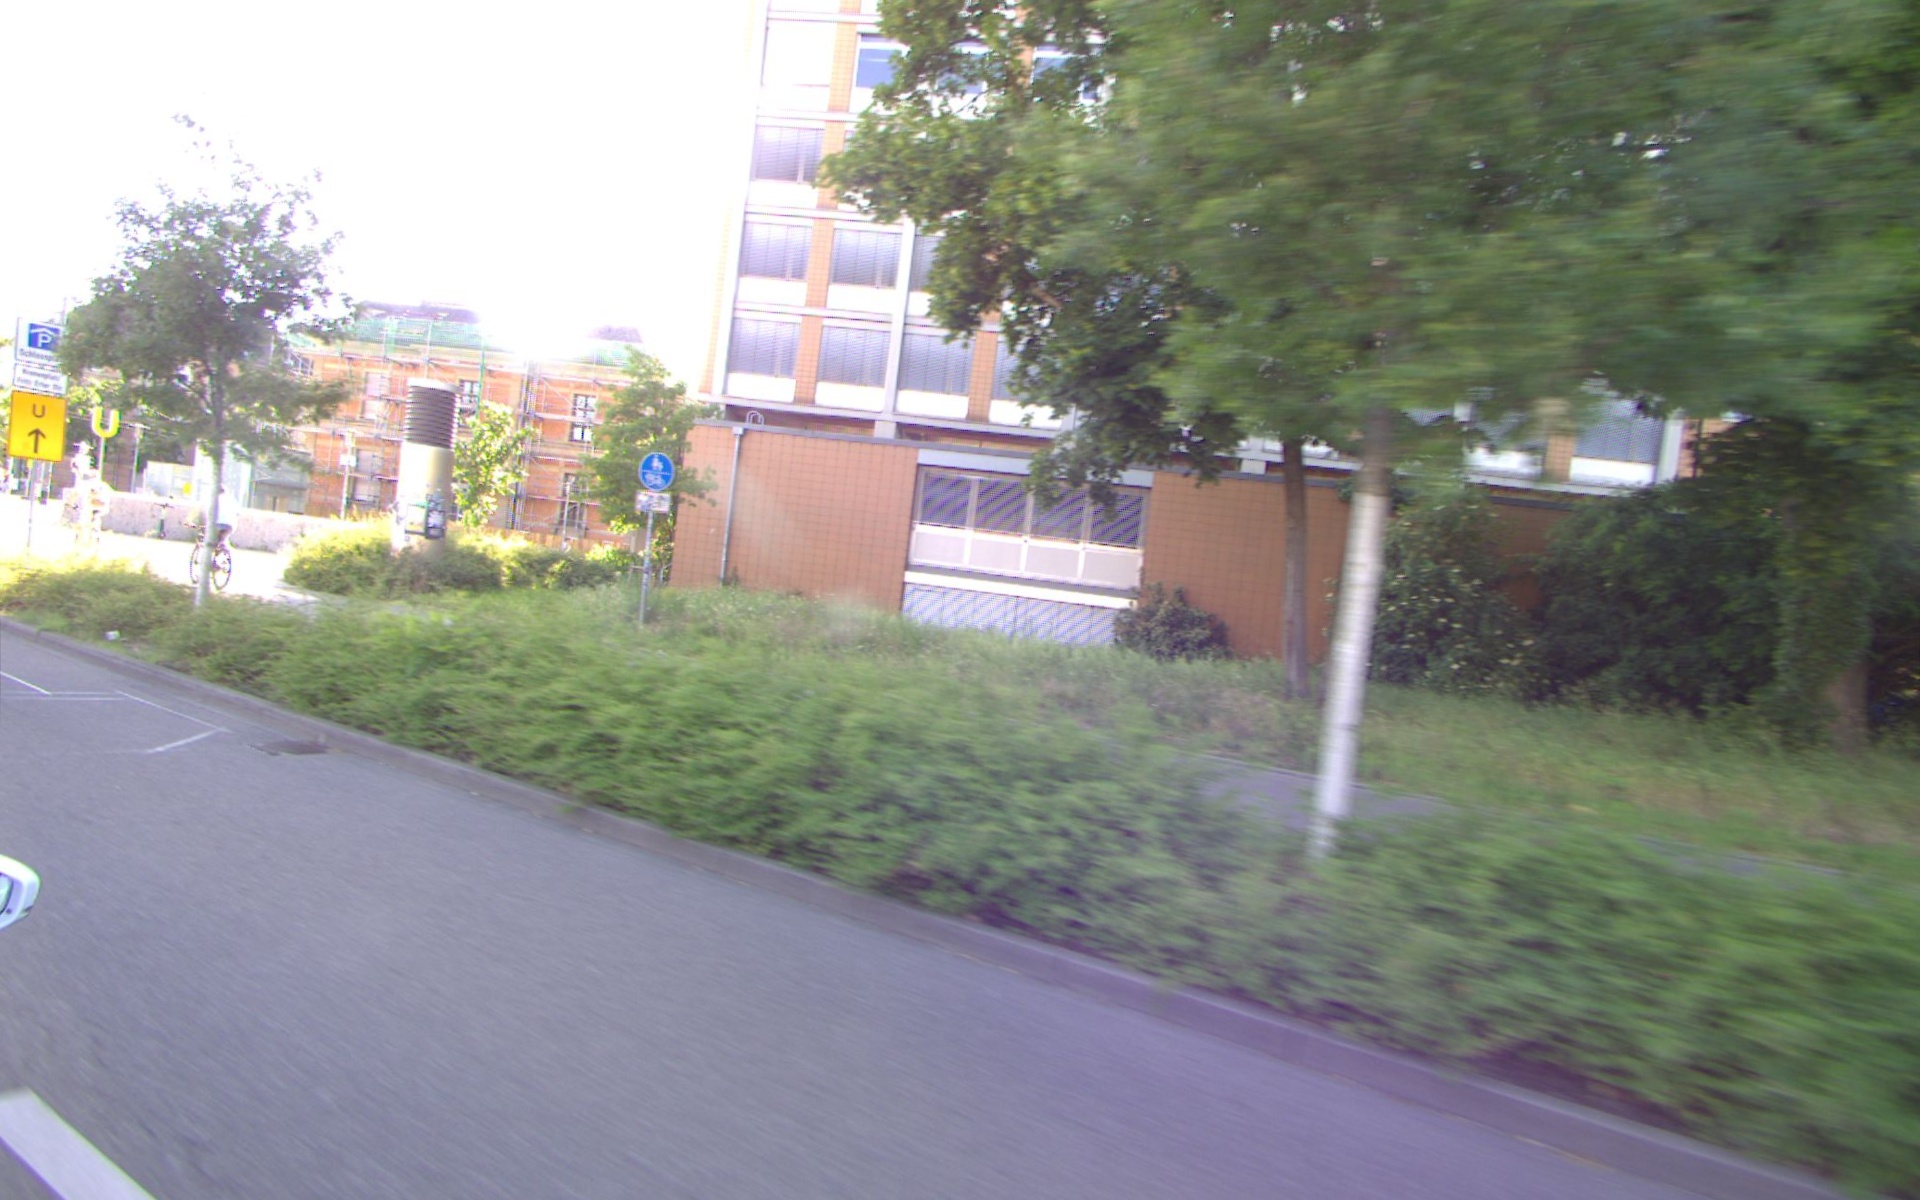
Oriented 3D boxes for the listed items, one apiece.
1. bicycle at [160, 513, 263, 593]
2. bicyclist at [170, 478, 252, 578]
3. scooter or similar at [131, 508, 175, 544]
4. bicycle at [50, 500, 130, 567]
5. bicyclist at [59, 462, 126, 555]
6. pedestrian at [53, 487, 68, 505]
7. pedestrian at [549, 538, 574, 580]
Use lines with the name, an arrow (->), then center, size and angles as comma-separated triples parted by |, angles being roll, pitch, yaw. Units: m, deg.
bicycle -> -13.333, -0.844, 17.913 | 1.838, 1.180, 0.717 | 8, 1, 29
bicyclist -> -13.366, -1.276, 17.950 | 0.961, 1.637, 0.720 | 8, 1, 29
scooter or similar -> -27.699, -2.538, 34.517 | 1.226, 1.025, 0.468 | 10, 2, 16
bicycle -> -18.231, -1.405, 21.072 | 1.840, 1.180, 0.746 | 8, 1, 34
bicyclist -> -18.154, -1.908, 21.053 | 0.962, 1.785, 0.720 | 8, 2, 34
pedestrian -> -76.651, -8.876, 85.724 | 0.787, 1.427, 0.599 | 10, 2, 32
pedestrian -> -18.065, -1.852, 45.581 | 0.778, 1.774, 0.536 | 10, 2, 44
